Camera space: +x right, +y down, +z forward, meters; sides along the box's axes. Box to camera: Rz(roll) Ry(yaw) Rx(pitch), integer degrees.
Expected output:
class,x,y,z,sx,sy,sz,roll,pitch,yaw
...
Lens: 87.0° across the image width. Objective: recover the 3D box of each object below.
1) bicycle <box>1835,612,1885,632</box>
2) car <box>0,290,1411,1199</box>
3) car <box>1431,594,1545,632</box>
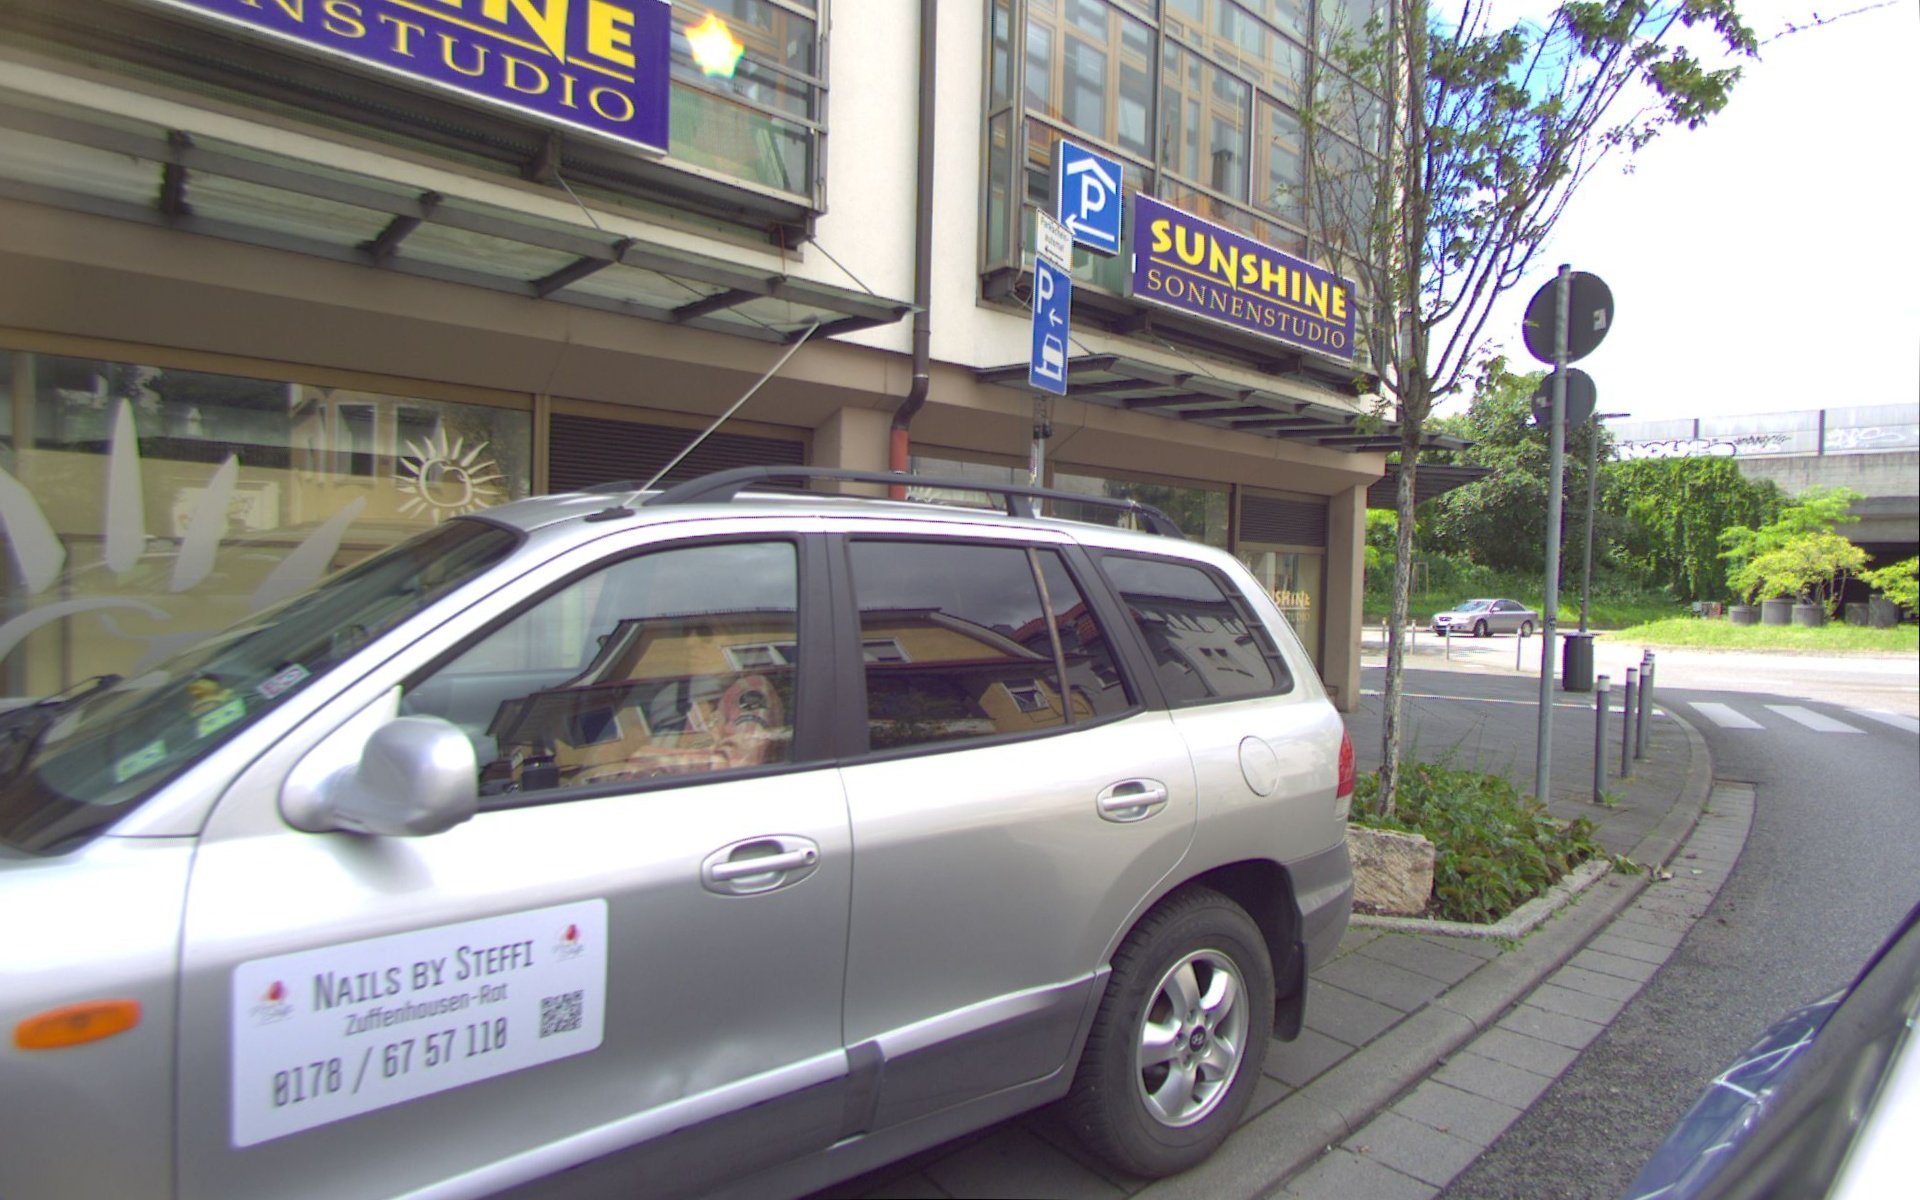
class,x,y,z,sx,sy,sz,roll,pitch,yaw
bicycle,48.370,1.174,54.432,0.498,0.915,1.948,0,3,-42
car,-0.930,0.483,2.458,4.153,1.752,1.830,0,2,-36
car,19.951,0.489,38.224,3.916,1.371,1.719,1,1,-23
